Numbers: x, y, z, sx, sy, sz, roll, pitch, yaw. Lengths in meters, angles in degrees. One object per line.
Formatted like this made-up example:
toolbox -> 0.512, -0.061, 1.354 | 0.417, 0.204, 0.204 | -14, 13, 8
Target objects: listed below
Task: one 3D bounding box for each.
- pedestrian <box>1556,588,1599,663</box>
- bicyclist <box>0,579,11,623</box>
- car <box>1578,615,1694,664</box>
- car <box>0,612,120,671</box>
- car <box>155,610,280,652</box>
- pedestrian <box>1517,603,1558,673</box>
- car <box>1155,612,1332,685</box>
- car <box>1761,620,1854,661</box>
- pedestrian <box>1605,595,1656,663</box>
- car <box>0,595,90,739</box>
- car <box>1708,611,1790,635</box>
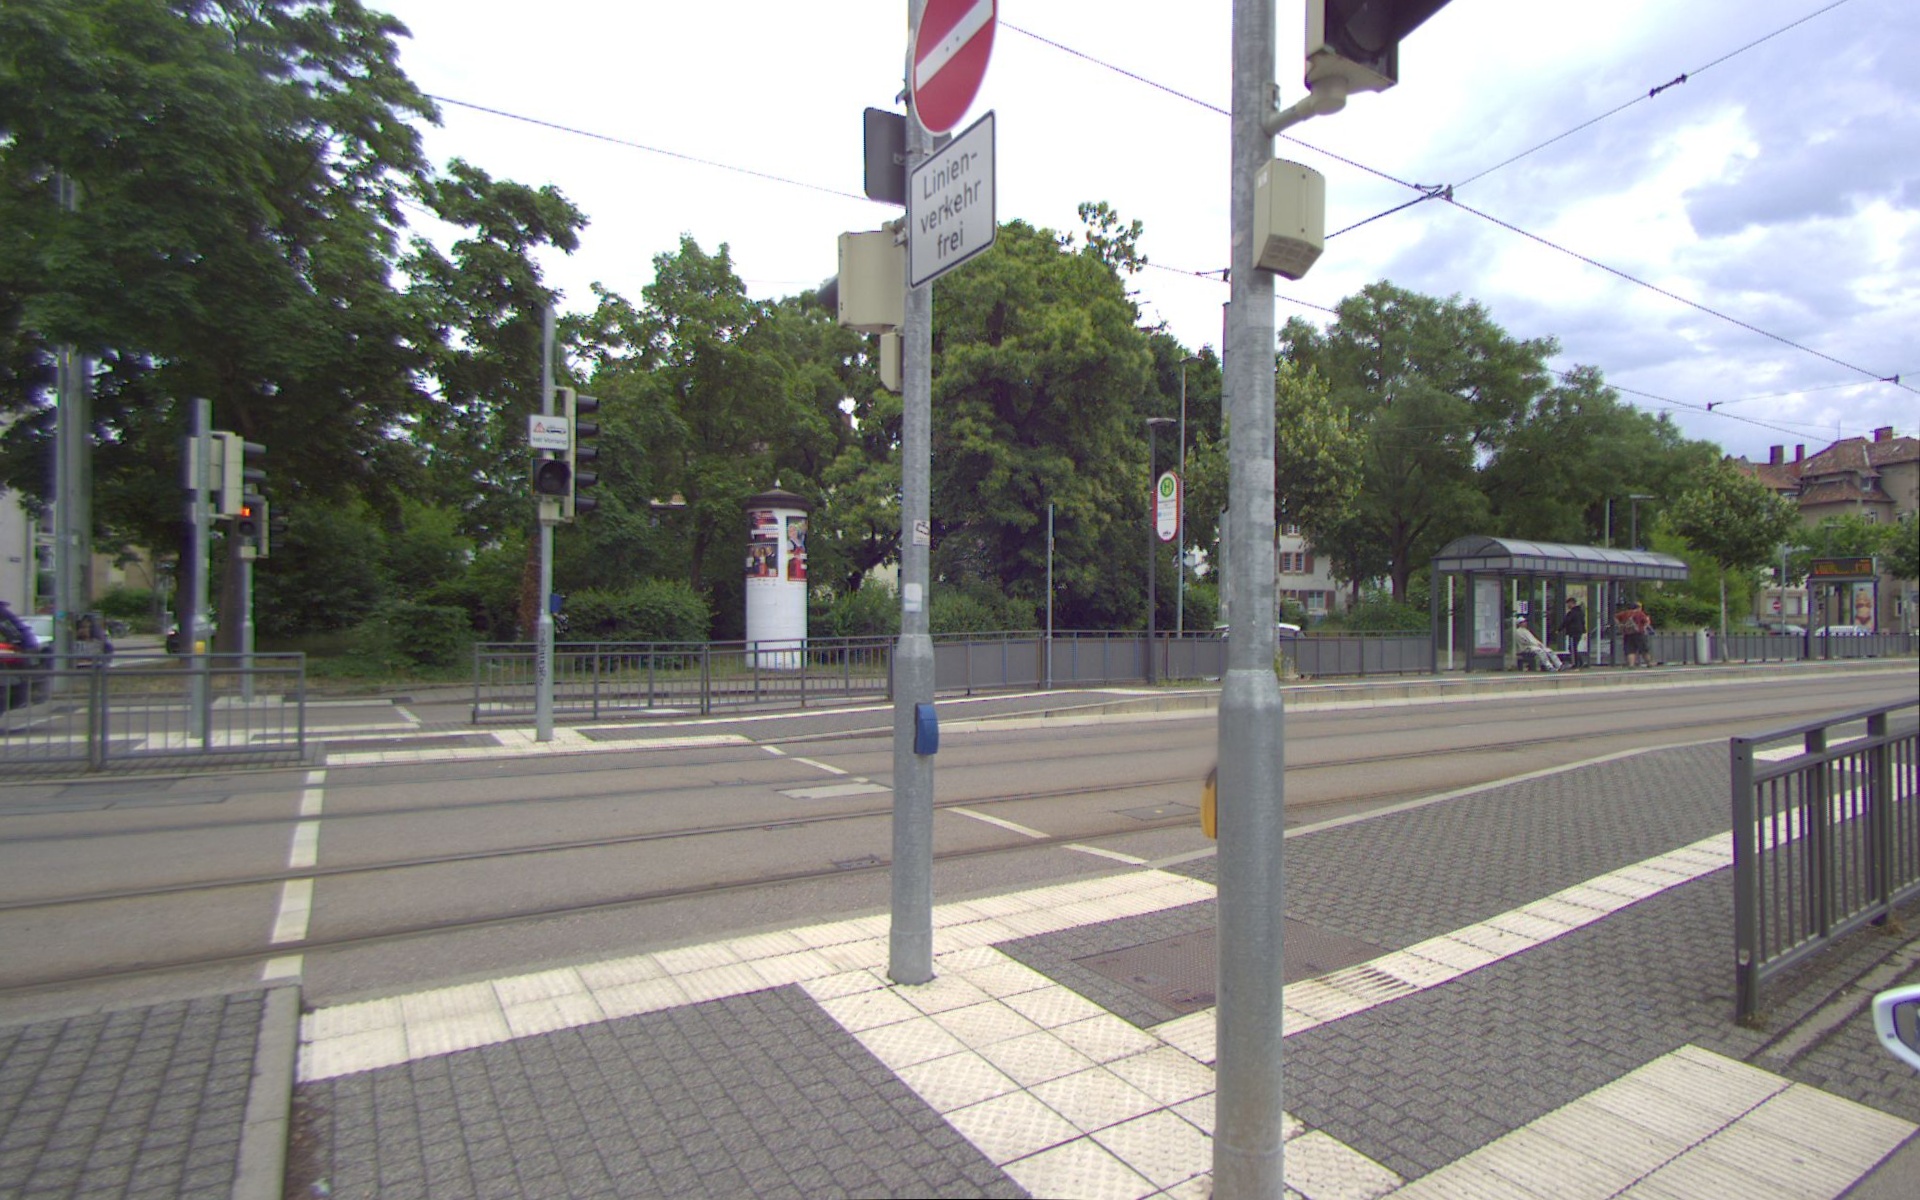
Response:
pedestrian -> 14.799, 0.607, 24.068 | 0.693, 1.738, 0.693 | 1, -1, -40
bicyclist -> -34.613, 0.032, 35.904 | 0.646, 1.585, 0.859 | 0, -1, -11
car -> 22.016, 1.257, 32.693 | 3.844, 1.513, 1.760 | 1, -1, -32
car -> -23.537, 1.005, 25.265 | 1.965, 1.372, 4.028 | 0, -1, -11
car -> -25.888, 1.044, 35.188 | 1.965, 1.372, 4.028 | 0, -1, -11
pedestrian -> 13.804, 0.907, 24.013 | 0.673, 1.645, 0.628 | 1, -1, -33
car -> 6.436, 1.051, 22.694 | 3.844, 1.513, 1.760 | 1, -1, -32
car -> 33.492, 1.576, 39.660 | 3.844, 1.513, 1.760 | 1, -1, -32
pedestrian -> 17.116, 0.740, 25.646 | 1.014, 1.682, 0.763 | 1, -1, -35
car -> -11.974, 0.681, 10.256 | 4.493, 1.513, 1.758 | 1, -1, -36
car -> 50.996, 1.488, 64.971 | 1.756, 1.513, 3.853 | 1, -1, -32
